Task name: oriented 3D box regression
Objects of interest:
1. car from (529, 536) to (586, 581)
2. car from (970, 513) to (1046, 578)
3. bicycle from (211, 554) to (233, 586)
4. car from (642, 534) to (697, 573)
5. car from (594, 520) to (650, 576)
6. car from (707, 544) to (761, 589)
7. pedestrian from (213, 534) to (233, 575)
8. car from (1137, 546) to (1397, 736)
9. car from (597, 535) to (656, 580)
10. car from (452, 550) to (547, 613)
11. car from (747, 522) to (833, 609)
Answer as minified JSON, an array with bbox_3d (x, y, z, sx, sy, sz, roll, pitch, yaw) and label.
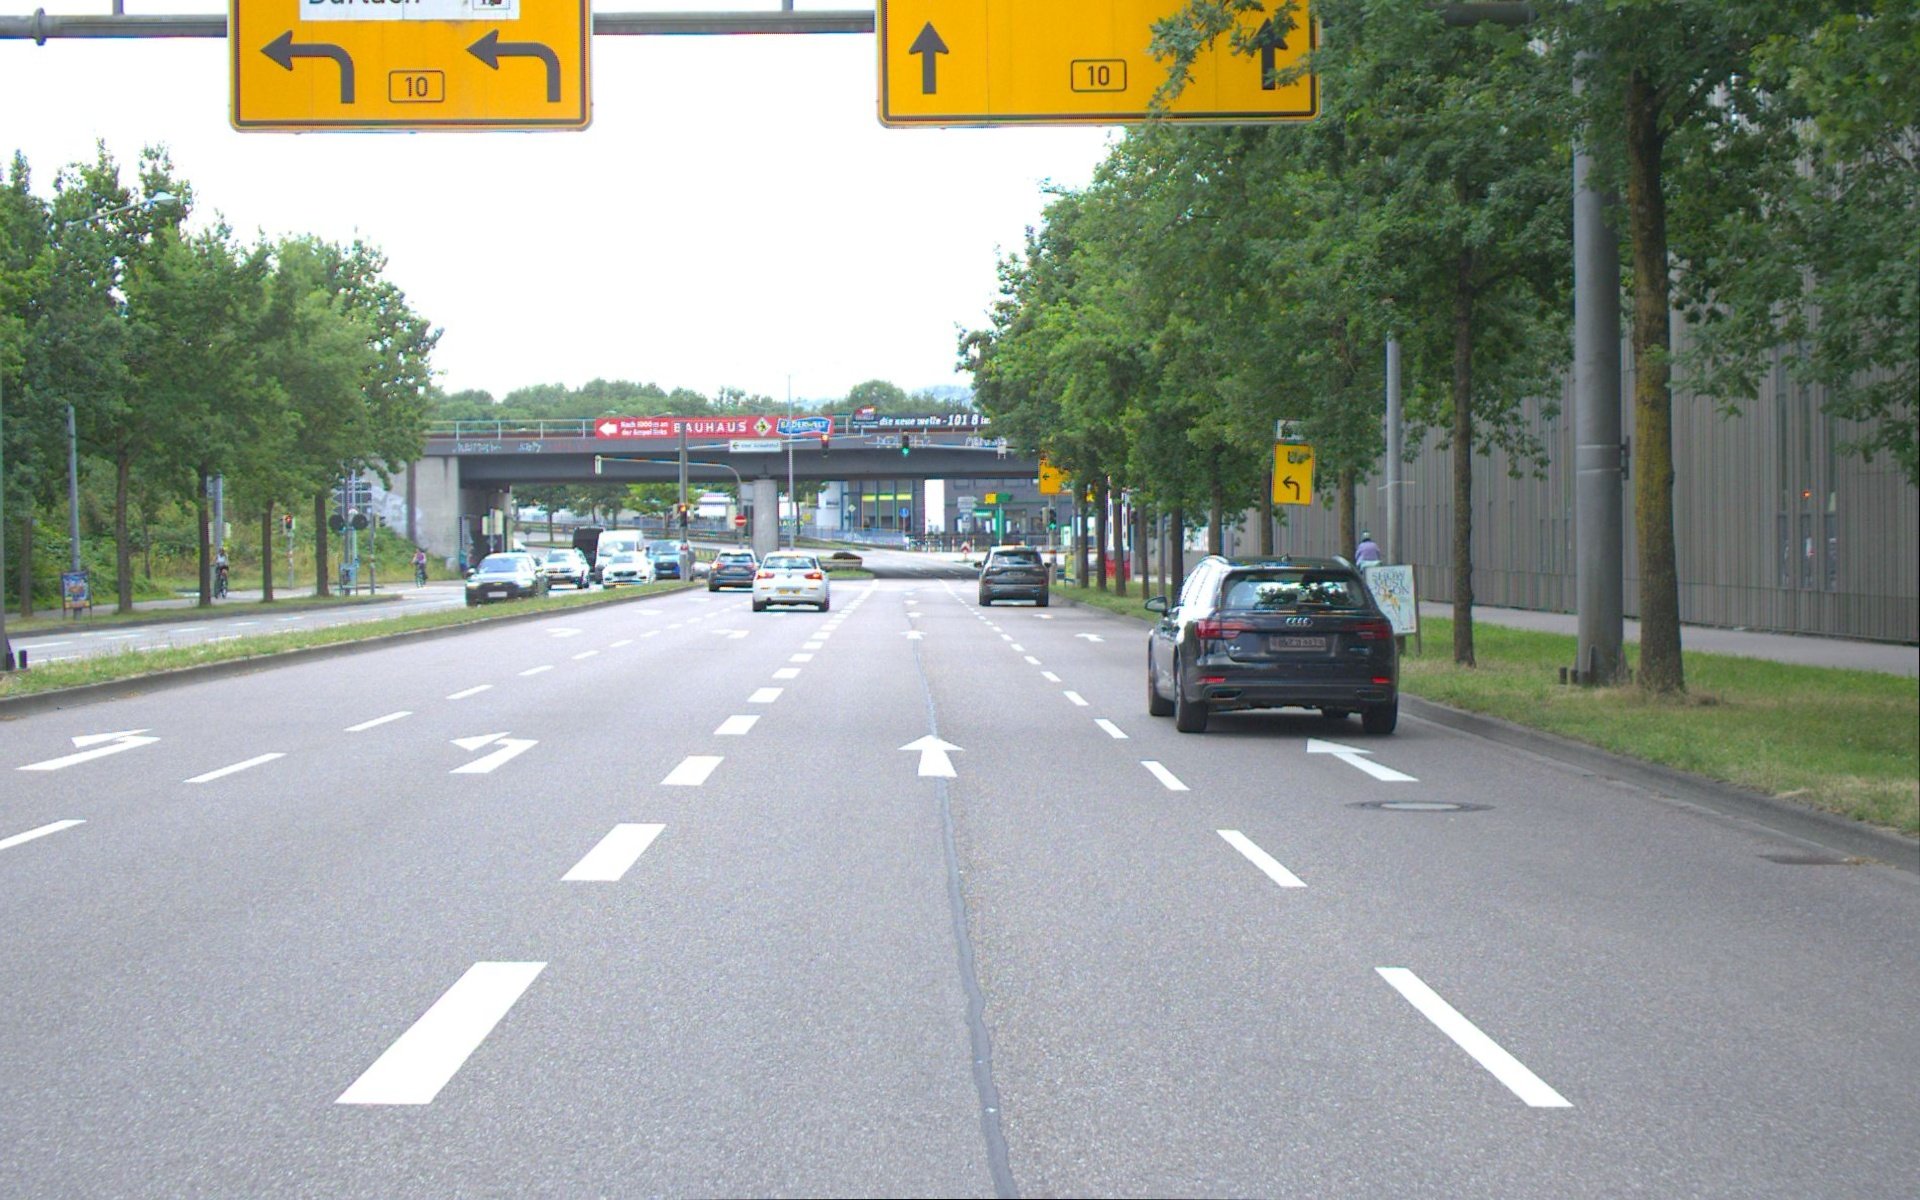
[{"bbox_3d":[-16.547,-1.682,141.484,1.993,1.777,4.000,1,0,-2],"label":"car"},{"bbox_3d":[1.334,-1.510,94.572,1.993,1.620,4.310,-2,2,1],"label":"car"},{"bbox_3d":[-25.188,-1.016,117.361,0.460,1.087,1.474,1,0,-2],"label":"bicycle"},{"bbox_3d":[-13.189,-2.093,156.286,1.993,1.711,4.000,1,0,2],"label":"car"},{"bbox_3d":[-16.457,-2.511,167.464,1.993,2.631,5.236,1,0,2],"label":"car"},{"bbox_3d":[-7.668,-1.139,116.781,1.774,1.458,4.001,1,1,-3],"label":"car"},{"bbox_3d":[-25.164,-1.558,117.424,0.558,1.395,0.563,1,0,-2],"label":"pedestrian"},{"bbox_3d":[2.514,0.292,28.972,1.683,1.458,4.001,1,1,-2],"label":"car"},{"bbox_3d":[-13.279,-1.684,137.149,1.993,1.711,4.000,1,0,-1],"label":"car"},{"bbox_3d":[-12.525,-0.527,93.692,1.993,1.612,4.000,-1,1,0],"label":"car"},{"bbox_3d":[-4.118,-0.853,82.684,1.993,2.007,4.001,1,1,-3],"label":"car"}]
